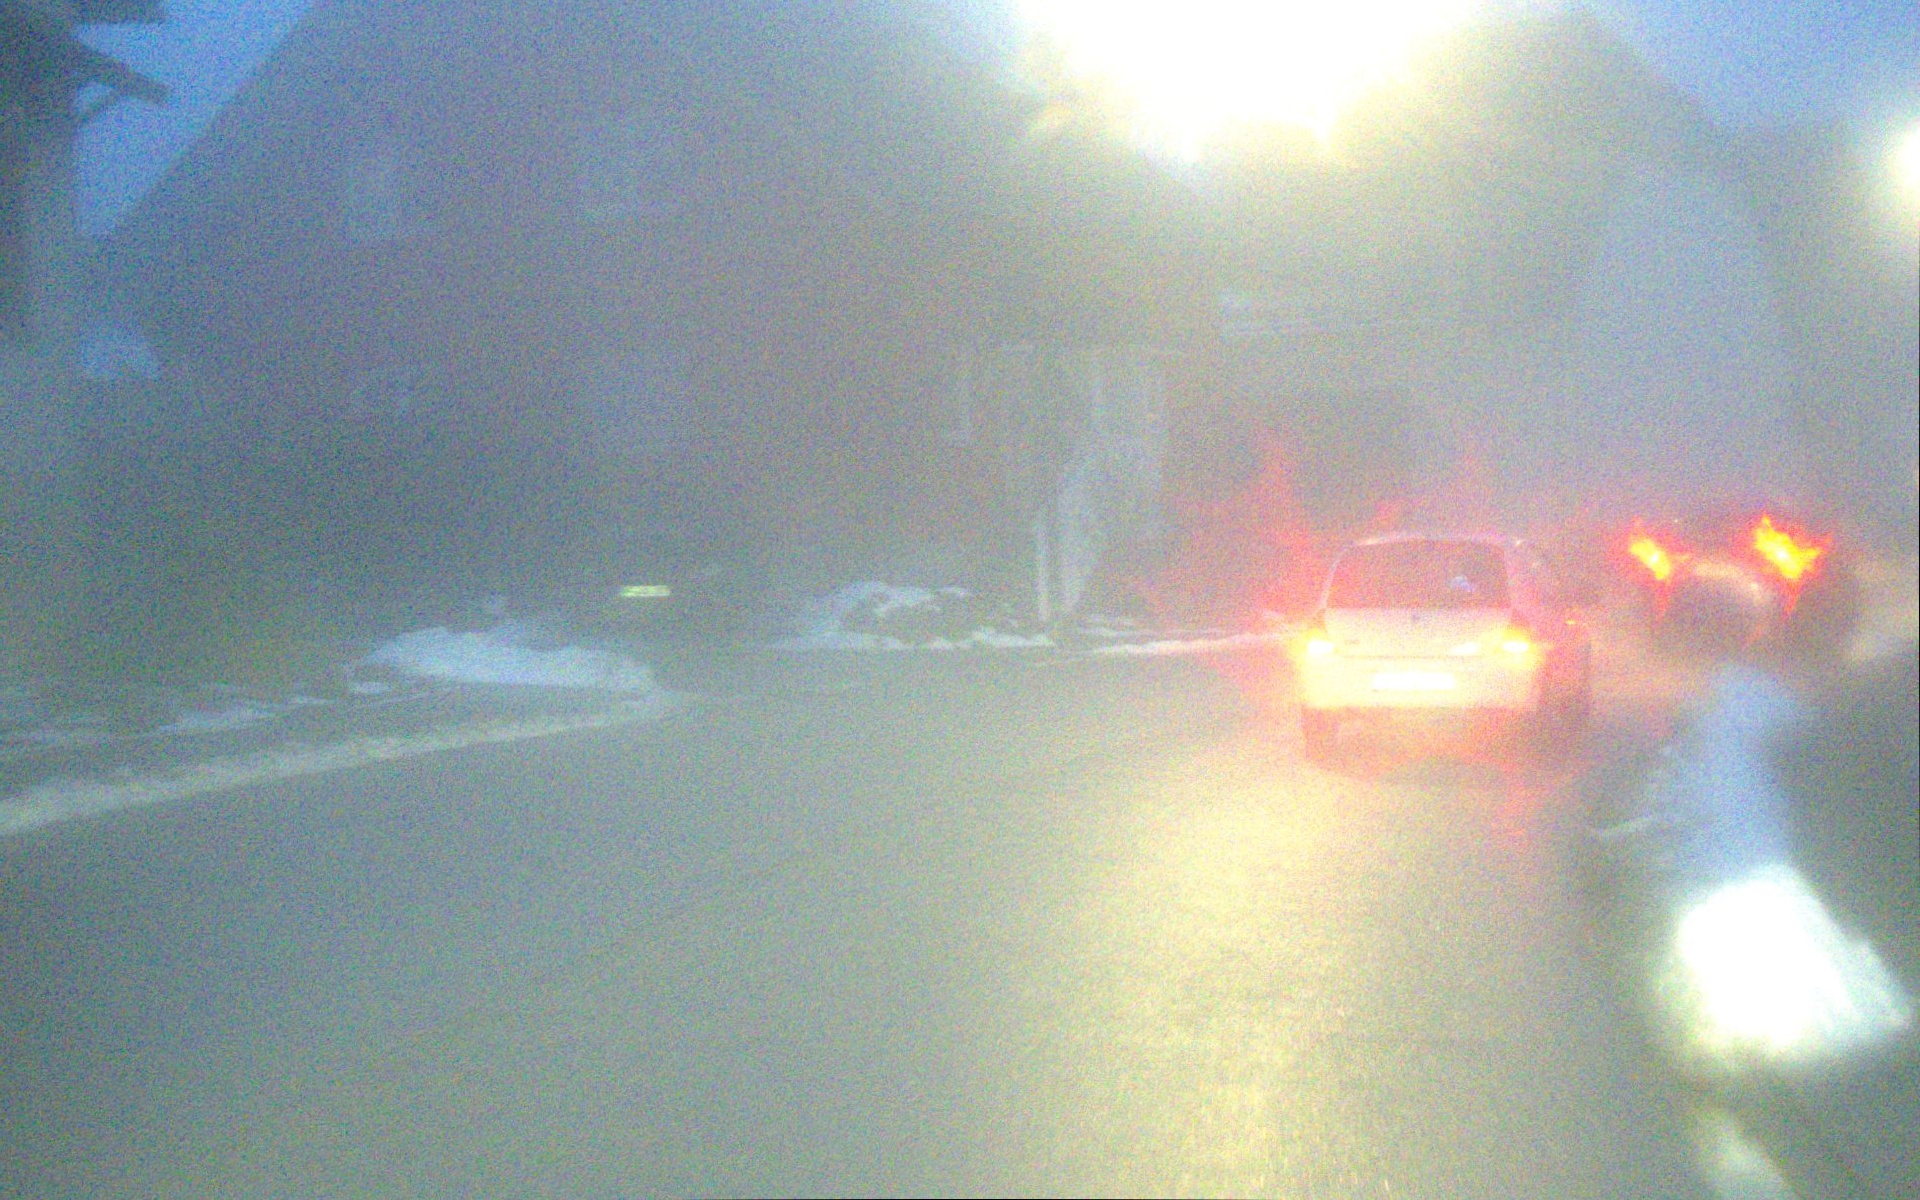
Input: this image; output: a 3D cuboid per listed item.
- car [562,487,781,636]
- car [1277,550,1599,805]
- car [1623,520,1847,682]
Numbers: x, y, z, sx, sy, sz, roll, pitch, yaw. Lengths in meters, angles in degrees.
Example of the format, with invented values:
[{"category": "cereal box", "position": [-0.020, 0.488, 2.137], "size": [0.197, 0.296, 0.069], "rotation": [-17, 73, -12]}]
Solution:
[{"category": "car", "position": [-3.069, -0.412, 37.322], "size": [1.874, 1.499, 4.000], "rotation": [1, 0, 2]}, {"category": "car", "position": [3.332, 0.461, 23.460], "size": [1.646, 1.590, 3.697], "rotation": [0, 1, 16]}, {"category": "car", "position": [8.104, -0.014, 35.752], "size": [1.647, 1.590, 3.695], "rotation": [1, 1, 23]}]
